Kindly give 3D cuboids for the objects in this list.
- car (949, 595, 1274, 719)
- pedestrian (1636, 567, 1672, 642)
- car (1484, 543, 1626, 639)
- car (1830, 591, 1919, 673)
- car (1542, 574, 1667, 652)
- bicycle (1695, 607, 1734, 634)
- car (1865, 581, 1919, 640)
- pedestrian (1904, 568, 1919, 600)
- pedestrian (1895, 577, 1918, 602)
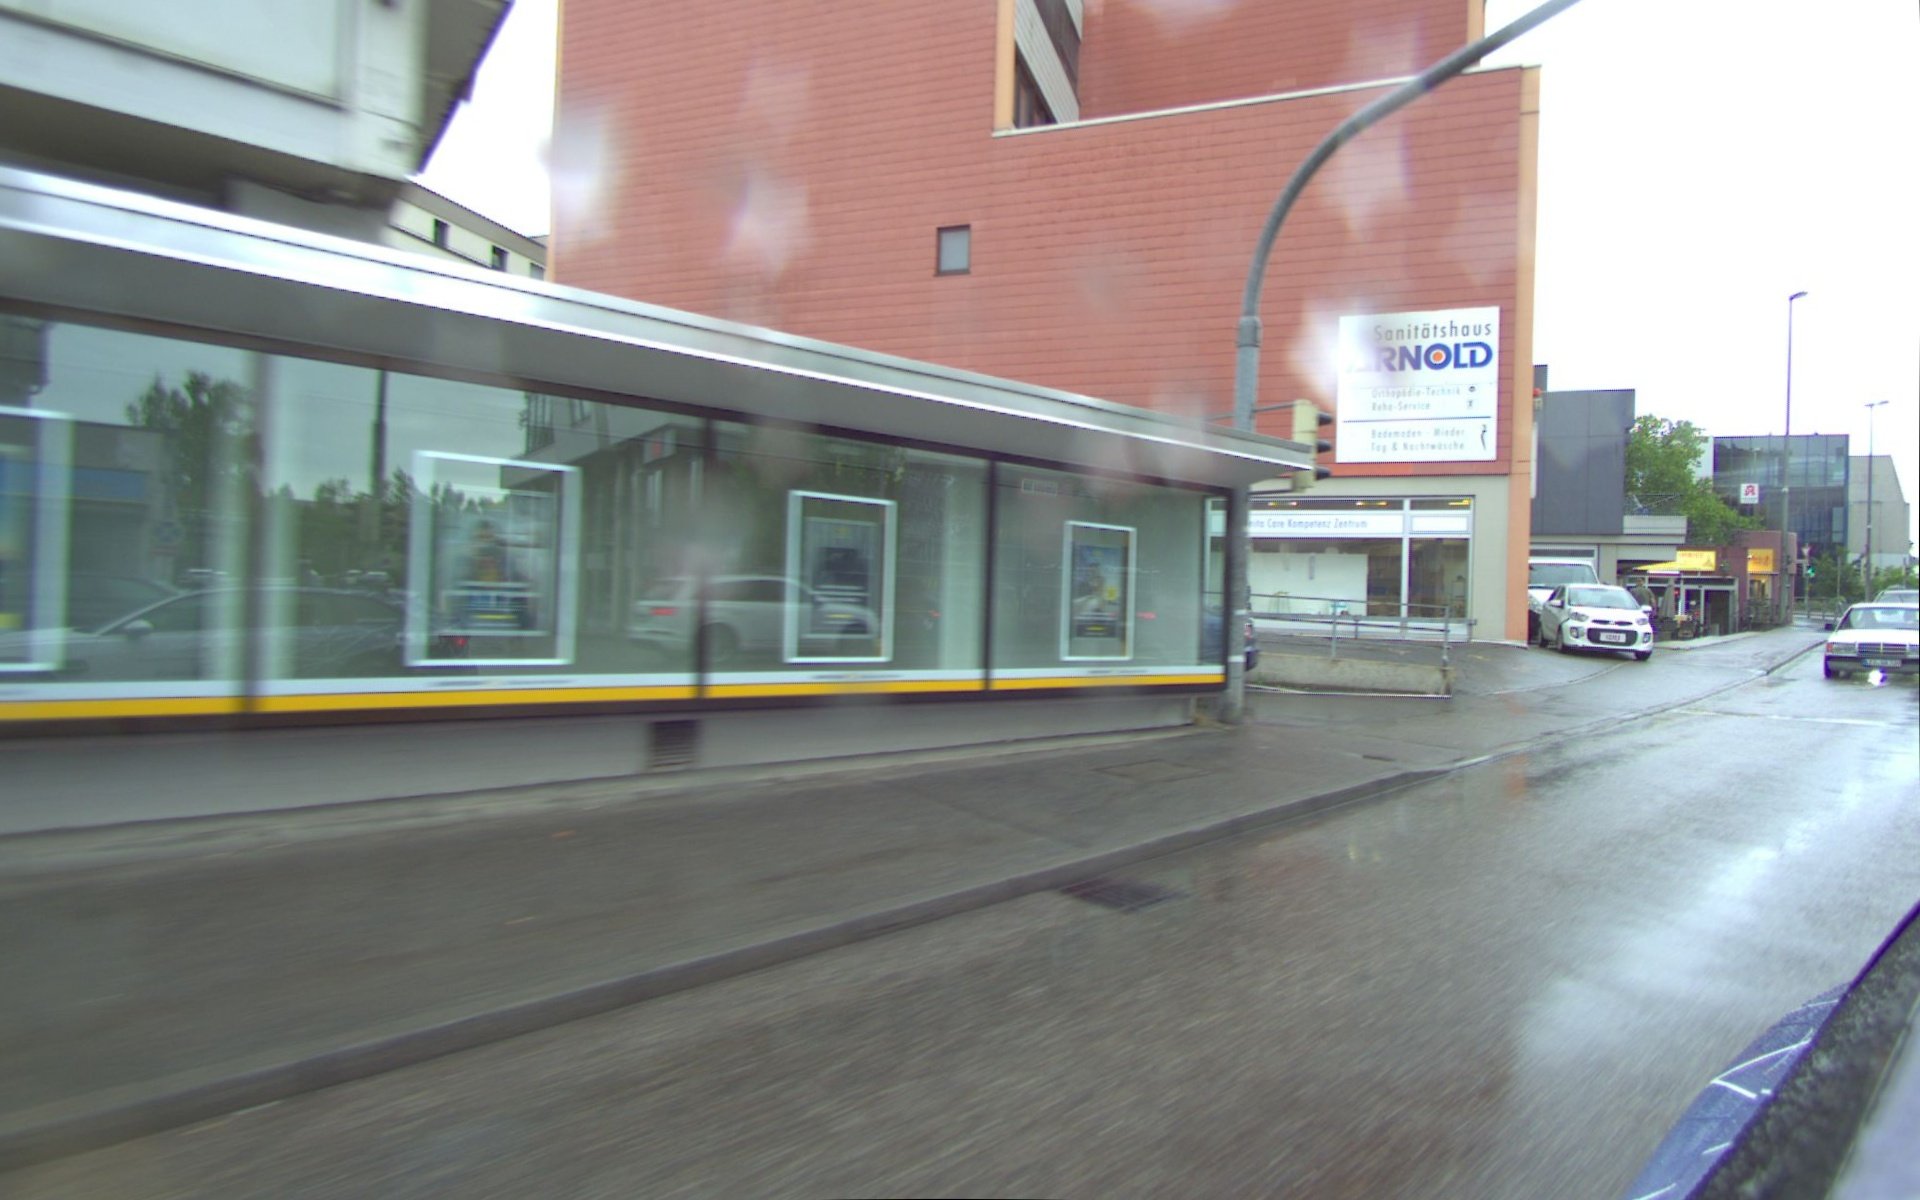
[{"bbox_3d":[2.173,0.723,14.448,4.344,1.429,1.725,2,1,20],"label":"car"},{"bbox_3d":[16.979,0.104,24.759,0.593,1.789,0.590,1,0,44],"label":"pedestrian"},{"bbox_3d":[15.759,-0.178,27.116,1.979,2.237,4.850,3,-1,15],"label":"car"},{"bbox_3d":[17.736,0.546,18.924,3.926,1.324,1.661,-1,2,-41],"label":"car"},{"bbox_3d":[13.505,0.208,21.391,1.597,1.480,3.400,1,2,22],"label":"car"},{"bbox_3d":[29.681,0.806,39.809,0.523,0.949,1.573,3,2,10],"label":"bicycle"},{"bbox_3d":[29.393,0.291,30.975,4.404,1.667,2.056,-1,2,-42],"label":"car"},{"bbox_3d":[54.662,-0.928,57.922,0.781,1.825,0.689,-1,4,-33],"label":"pedestrian"},{"bbox_3d":[53.603,-0.592,57.320,0.757,1.396,0.689,-1,4,-33],"label":"pedestrian"}]
